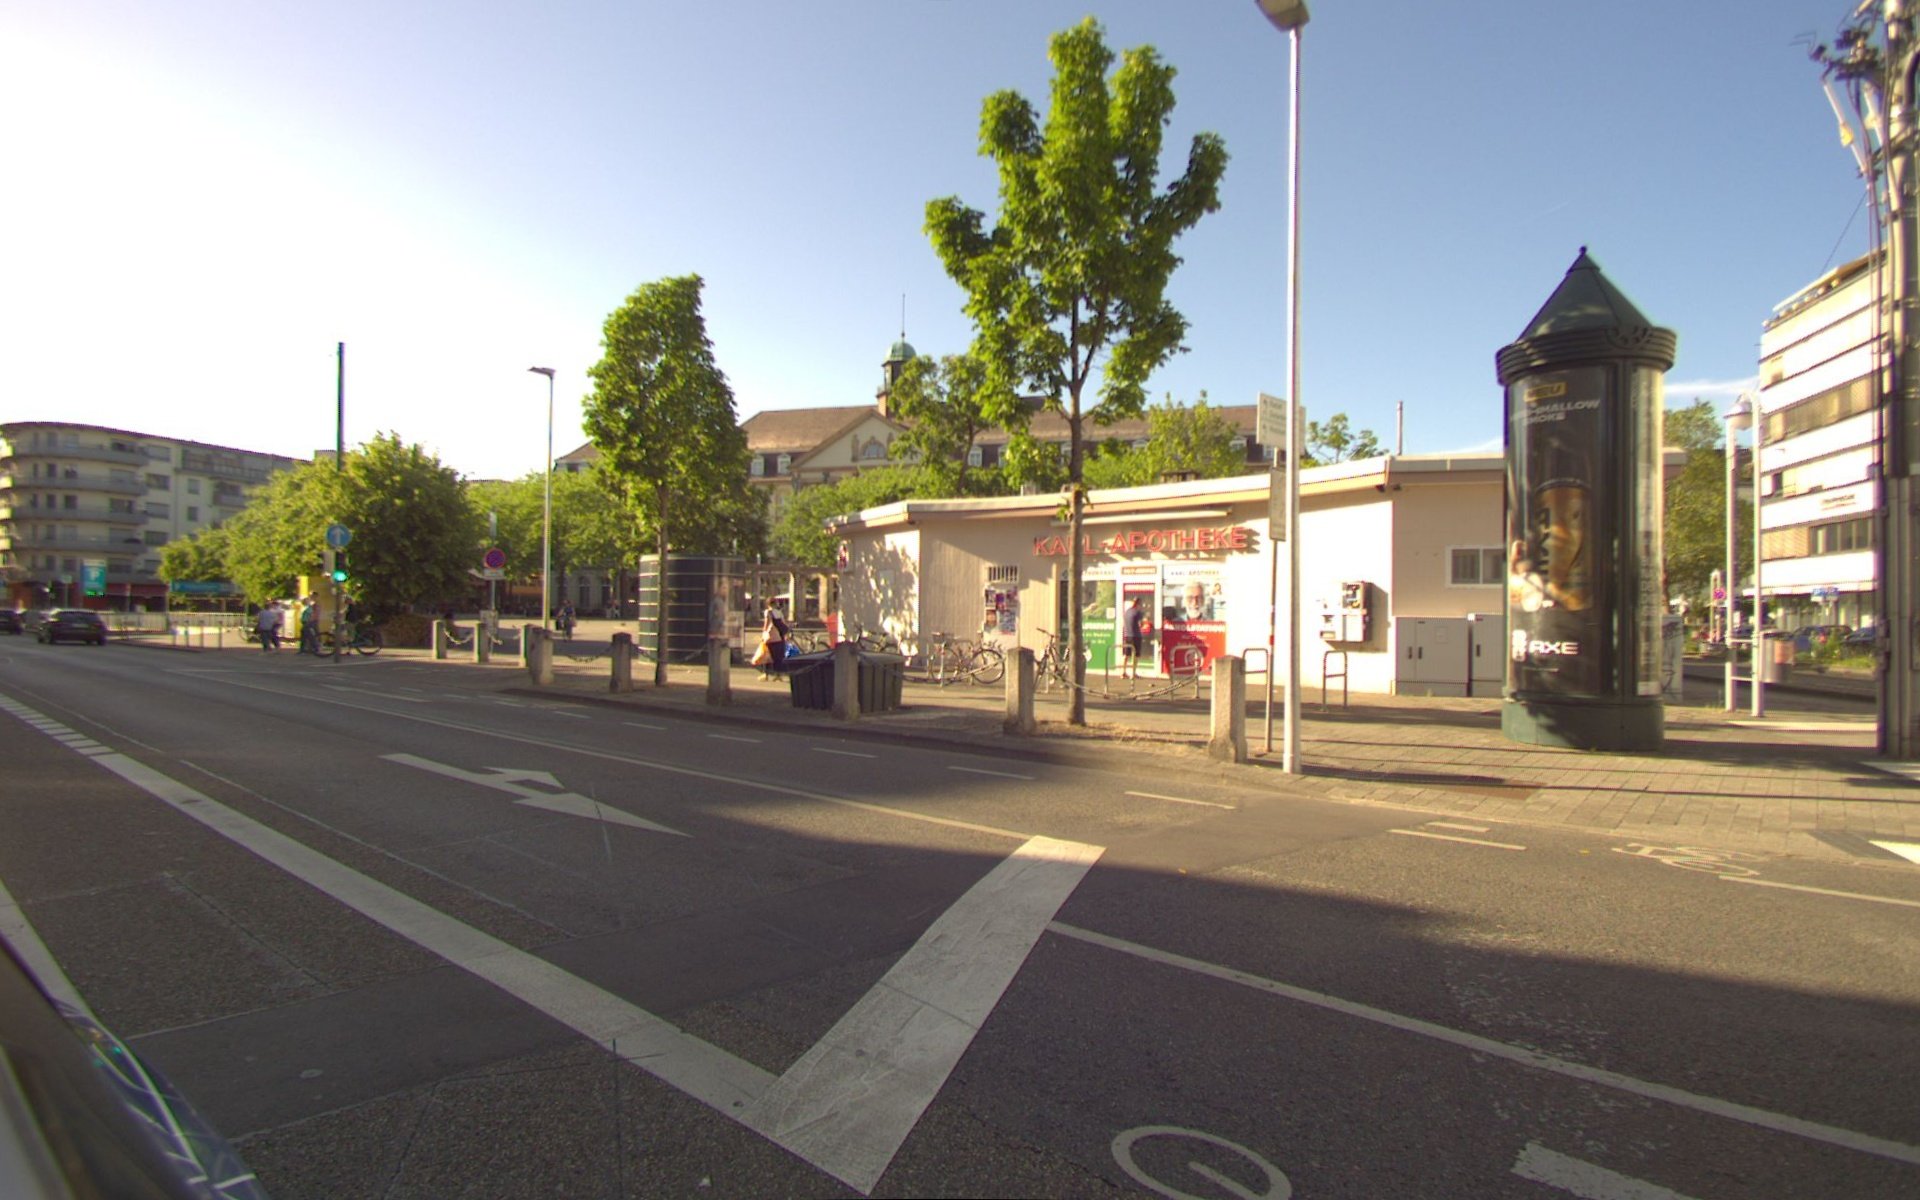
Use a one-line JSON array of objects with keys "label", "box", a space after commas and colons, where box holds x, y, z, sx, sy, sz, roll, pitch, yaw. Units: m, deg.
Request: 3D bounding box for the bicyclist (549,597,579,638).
[{"label": "bicyclist", "box": [-15.979, 0.719, 40.819, 0.927, 1.621, 1.174, 1, -1, -31]}]

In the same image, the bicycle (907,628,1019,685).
[{"label": "bicycle", "box": [0.075, 1.049, 19.246, 1.985, 1.010, 0.890, 1, -1, -35]}]

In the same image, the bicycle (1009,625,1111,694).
[{"label": "bicycle", "box": [1.771, 1.009, 17.701, 0.753, 1.096, 1.967, -1, -1, 42]}]

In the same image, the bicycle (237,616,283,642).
[{"label": "bicycle", "box": [-28.638, 1.177, 41.415, 0.364, 1.039, 1.529, -1, -1, 40]}]

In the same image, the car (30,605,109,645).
[{"label": "car", "box": [-35.293, 0.992, 40.070, 4.040, 1.408, 1.633, 0, -5, 40]}]

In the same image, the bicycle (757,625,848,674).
[{"label": "bicycle", "box": [-3.476, 1.066, 22.413, 1.861, 1.010, 0.766, 0, -1, -41]}]

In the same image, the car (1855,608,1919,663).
[{"label": "car", "box": [36.757, 1.334, 38.900, 1.982, 2.029, 3.979, 0, -1, 16]}]

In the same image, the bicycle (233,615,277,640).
[{"label": "bicycle", "box": [-29.591, 1.136, 42.486, 1.506, 1.039, 0.365, 1, -1, -34]}]

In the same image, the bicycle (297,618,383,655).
[{"label": "bicycle", "box": [-18.620, 1.086, 30.455, 2.138, 1.080, 0.766, 0, -1, -28]}]

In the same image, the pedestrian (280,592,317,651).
[{"label": "pedestrian", "box": [-20.846, 0.667, 31.884, 0.772, 1.825, 0.590, 0, -1, -3]}]

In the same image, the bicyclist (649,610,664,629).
[{"label": "bicyclist", "box": [-24.469, 1.563, 81.586, 0.938, 1.483, 0.648, 0, -1, -44]}]

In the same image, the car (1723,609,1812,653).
[{"label": "car", "box": [39.610, 1.497, 49.750, 1.982, 2.029, 3.979, 0, -1, 16]}]

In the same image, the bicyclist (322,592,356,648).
[{"label": "bicyclist", "box": [-18.677, 0.591, 30.446, 0.791, 1.661, 0.997, 0, 0, -27]}]

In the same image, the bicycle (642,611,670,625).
[{"label": "bicycle", "box": [-24.516, 1.431, 81.579, 2.092, 1.112, 0.697, 1, -1, -44]}]

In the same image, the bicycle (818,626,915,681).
[{"label": "bicycle", "box": [-1.860, 1.054, 20.352, 1.861, 1.010, 0.766, 0, -1, -41]}]

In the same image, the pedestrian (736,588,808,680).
[{"label": "pedestrian", "box": [-3.636, 0.639, 19.556, 1.086, 1.711, 0.890, -1, -1, 43]}]

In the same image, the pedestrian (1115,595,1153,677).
[{"label": "pedestrian", "box": [3.676, 0.754, 21.436, 0.611, 1.722, 0.514, -1, -2, 41]}]

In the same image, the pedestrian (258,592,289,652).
[{"label": "pedestrian", "box": [-21.785, 0.699, 32.103, 0.640, 1.871, 0.626, 0, -1, -18]}]

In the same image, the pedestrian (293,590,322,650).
[{"label": "pedestrian", "box": [-21.145, 0.647, 32.775, 0.784, 1.933, 0.601, -1, -1, 43]}]

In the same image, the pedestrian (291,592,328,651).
[{"label": "pedestrian", "box": [-20.248, 0.672, 31.524, 0.776, 1.825, 0.586, 0, -1, 15]}]

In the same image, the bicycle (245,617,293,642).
[{"label": "bicycle", "box": [-28.148, 1.191, 41.243, 0.364, 1.010, 1.539, -1, -1, 40]}]

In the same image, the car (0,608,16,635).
[{"label": "car", "box": [-52.833, 1.169, 54.951, 4.249, 1.434, 1.732, 0, 0, 38]}]

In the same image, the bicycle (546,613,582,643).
[{"label": "bicycle", "box": [-15.980, 1.116, 40.817, 0.927, 1.141, 2.486, 1, -1, -31]}]

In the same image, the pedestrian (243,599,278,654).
[{"label": "pedestrian", "box": [-21.655, 0.810, 31.342, 0.676, 1.686, 0.699, 0, -1, -18]}]
